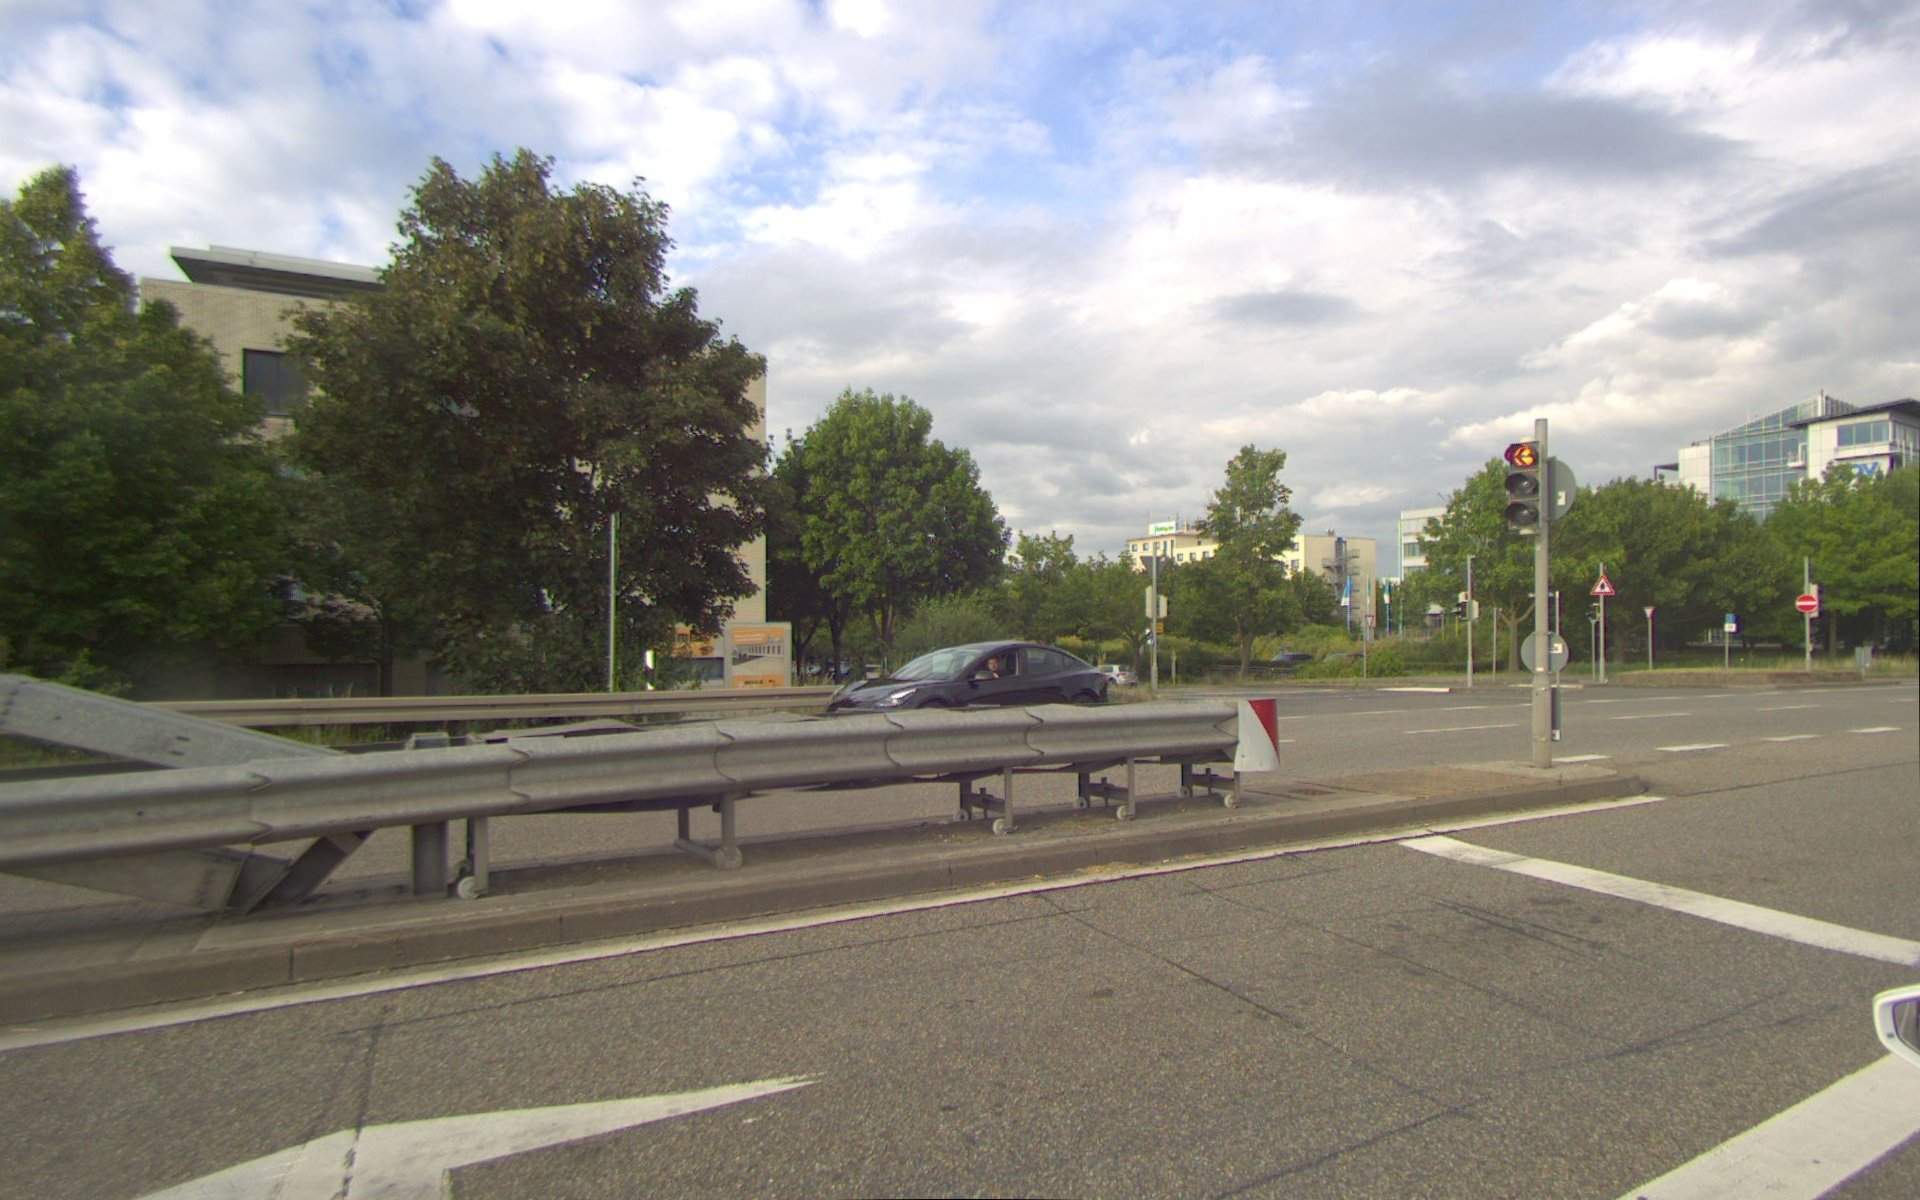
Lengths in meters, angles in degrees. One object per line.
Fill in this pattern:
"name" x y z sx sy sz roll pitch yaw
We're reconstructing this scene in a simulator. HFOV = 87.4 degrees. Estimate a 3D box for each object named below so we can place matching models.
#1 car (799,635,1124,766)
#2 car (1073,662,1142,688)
"car" 0.126 1.277 14.074 4.337 1.476 1.900 2 0 -40
"car" 8.411 4.288 57.372 1.576 1.359 3.704 2 -6 -43
